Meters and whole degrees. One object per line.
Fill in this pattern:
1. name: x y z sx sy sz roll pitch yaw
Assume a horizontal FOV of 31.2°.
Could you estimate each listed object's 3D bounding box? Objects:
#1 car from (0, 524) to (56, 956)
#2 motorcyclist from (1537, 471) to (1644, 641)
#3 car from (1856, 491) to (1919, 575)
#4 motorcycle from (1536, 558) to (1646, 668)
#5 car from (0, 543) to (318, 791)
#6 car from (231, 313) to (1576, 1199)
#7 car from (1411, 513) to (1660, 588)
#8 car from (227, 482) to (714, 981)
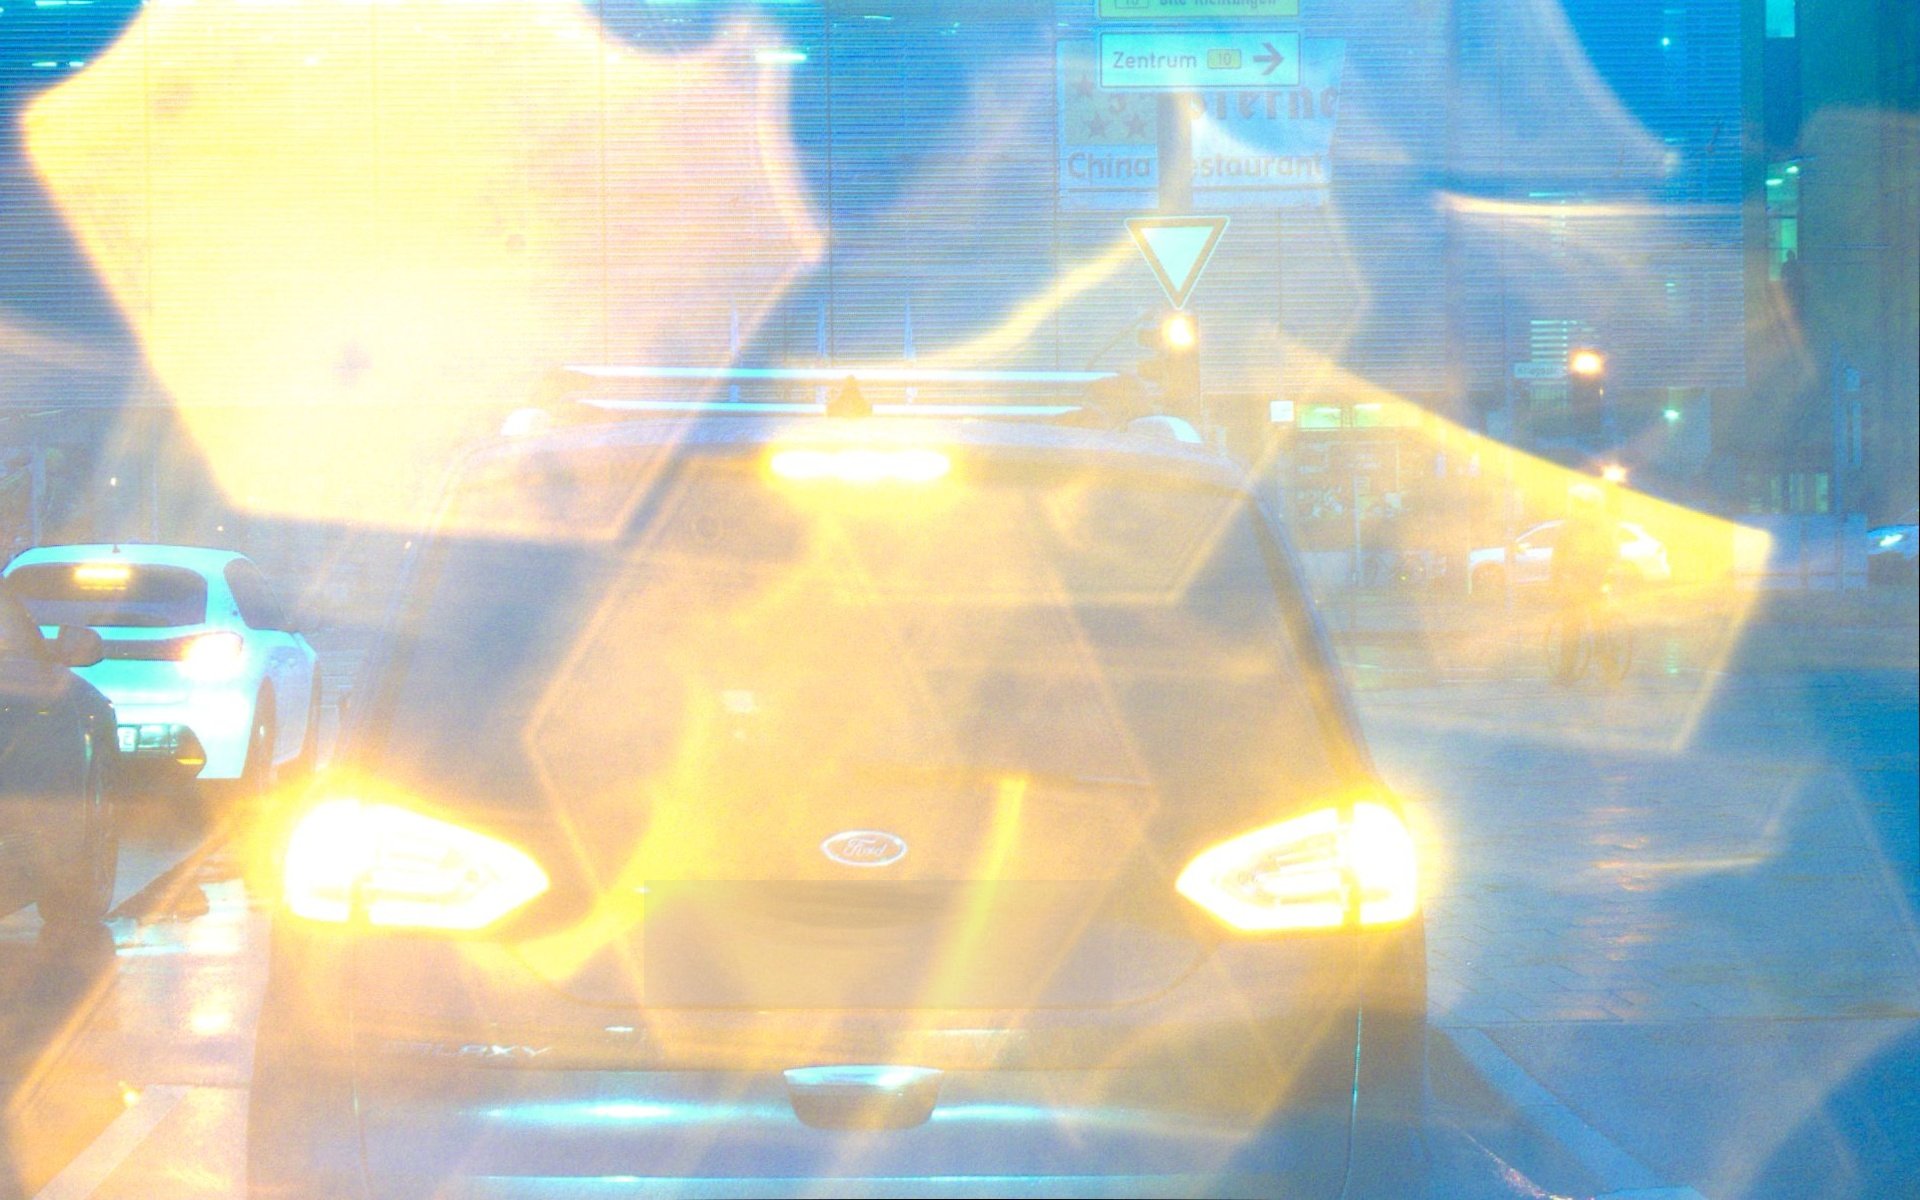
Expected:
1. car: -4.291 0.532 11.488 1.752 1.568 4.001 -1 1 -4
2. motorcyclist: 5.797 -0.412 31.661 0.868 1.529 1.108 0 1 5
3. car: 19.896 -1.323 66.891 4.418 1.589 1.800 -1 1 -7
4. motorcycle: 5.796 0.105 31.656 0.853 0.968 1.581 0 1 5
5. car: -4.516 0.305 19.479 1.540 1.247 4.069 0 1 -8
6. car: -0.181 0.470 6.646 1.735 1.732 4.247 2 1 -3
7. car: 11.096 -0.965 66.418 4.418 1.385 1.800 -1 1 -7
8. car: -1.823 0.426 13.553 1.636 1.691 3.671 1 1 -5
